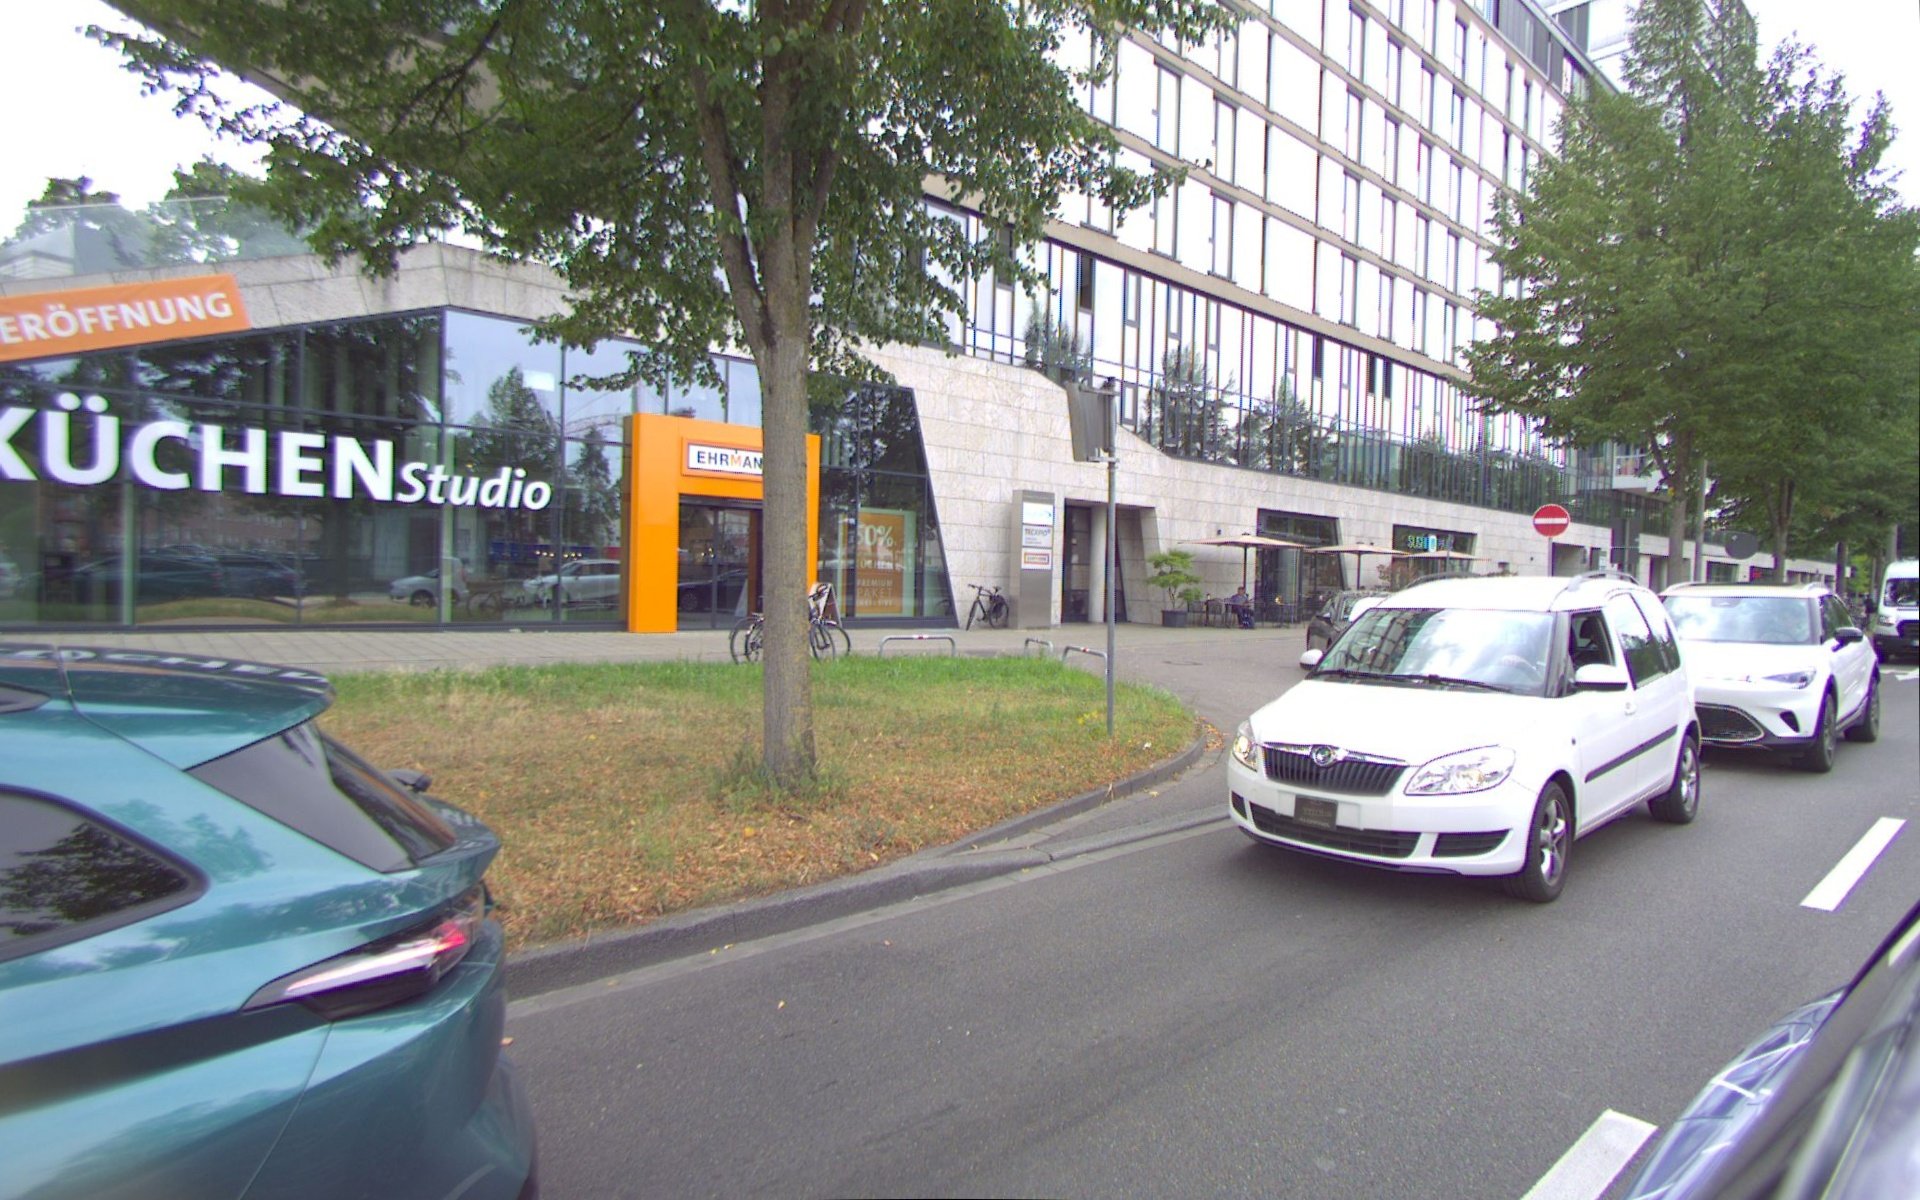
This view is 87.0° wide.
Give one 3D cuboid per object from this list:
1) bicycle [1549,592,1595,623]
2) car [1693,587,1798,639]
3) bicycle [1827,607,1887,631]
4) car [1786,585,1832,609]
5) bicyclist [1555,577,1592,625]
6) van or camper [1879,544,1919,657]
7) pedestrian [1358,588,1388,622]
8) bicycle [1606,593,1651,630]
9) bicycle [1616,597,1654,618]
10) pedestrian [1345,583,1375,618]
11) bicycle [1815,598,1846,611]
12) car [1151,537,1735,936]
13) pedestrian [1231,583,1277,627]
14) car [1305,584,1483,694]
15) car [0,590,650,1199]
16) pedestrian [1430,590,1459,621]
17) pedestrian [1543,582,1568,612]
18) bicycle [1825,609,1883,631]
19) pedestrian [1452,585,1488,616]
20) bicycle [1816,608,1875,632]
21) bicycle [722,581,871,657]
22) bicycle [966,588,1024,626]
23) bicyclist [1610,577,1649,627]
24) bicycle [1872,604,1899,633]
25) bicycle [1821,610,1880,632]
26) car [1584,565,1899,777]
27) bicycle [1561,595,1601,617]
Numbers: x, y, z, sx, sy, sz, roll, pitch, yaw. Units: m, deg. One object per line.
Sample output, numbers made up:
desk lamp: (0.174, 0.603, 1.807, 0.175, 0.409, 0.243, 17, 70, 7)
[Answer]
bicycle: (21.151, 0.256, 34.950, 1.970, 1.055, 0.675, 0, 1, -38)
car: (26.036, 0.414, 33.494, 4.514, 1.571, 1.941, 1, 1, -42)
bicycle: (40.463, 0.859, 45.665, 0.693, 1.079, 1.931, 1, -2, -43)
car: (61.825, -0.196, 73.656, 4.166, 1.607, 1.862, 0, 4, -41)
bicyclist: (21.174, 0.042, 34.929, 0.971, 1.601, 0.727, 0, 3, -36)
van or camper: (24.002, 0.025, 24.364, 6.230, 2.540, 2.181, 0, 0, -42)
pedestrian: (15.066, 0.179, 36.929, 0.745, 1.207, 0.720, 1, 1, -39)
bicycle: (22.060, 0.393, 33.379, 1.972, 1.157, 0.675, 1, 2, -41)
bicycle: (36.794, 0.385, 55.198, 0.524, 1.039, 1.599, 0, 2, -43)
pedestrian: (14.344, 0.023, 36.301, 0.746, 1.207, 0.720, 1, 1, -42)
bicycle: (85.963, 0.452, 99.927, 2.231, 1.191, 0.961, 2, 1, 42)
car: (3.145, 0.551, 6.224, 3.952, 1.677, 1.782, 0, 2, -41)
pedestrian: (8.650, 0.149, 29.821, 0.932, 1.243, 0.900, 1, 1, -36)
car: (7.007, 0.513, 16.879, 1.919, 1.494, 4.850, 2, 1, 14)
car: (-2.648, 0.707, 0.833, 4.239, 1.450, 1.789, 0, 0, -44)
pedestrian: (19.288, 0.218, 40.290, 0.743, 1.207, 0.723, 1, 1, -19)
pedestrian: (28.434, -0.142, 48.359, 0.707, 1.424, 0.759, 1, 1, -33)
bicycle: (39.946, 0.915, 45.223, 0.602, 0.963, 1.862, 1, -2, -43)
pedestrian: (20.563, 0.016, 40.834, 1.083, 1.207, 0.776, 1, 1, -26)
bicycle: (38.347, 0.855, 43.833, 0.564, 1.008, 1.862, 1, -2, -43)
bicycle: (-2.234, 0.242, 14.083, 0.630, 0.968, 2.074, 2, 2, 44)
bicycle: (0.880, 0.168, 25.129, 1.467, 0.921, 0.519, 0, 1, -41)
bicyclist: (22.028, 0.049, 33.296, 0.972, 1.601, 0.726, 0, 3, -39)
bicycle: (37.347, 0.744, 40.840, 0.709, 1.130, 2.170, -2, -2, 41)
bicycle: (39.379, 0.920, 44.766, 0.642, 0.963, 1.862, 1, -2, -43)
car: (7.817, 0.568, 9.988, 3.954, 1.677, 1.781, 0, 0, -42)
bicycle: (31.184, 0.303, 50.841, 1.584, 1.039, 0.606, 3, 2, 23)
